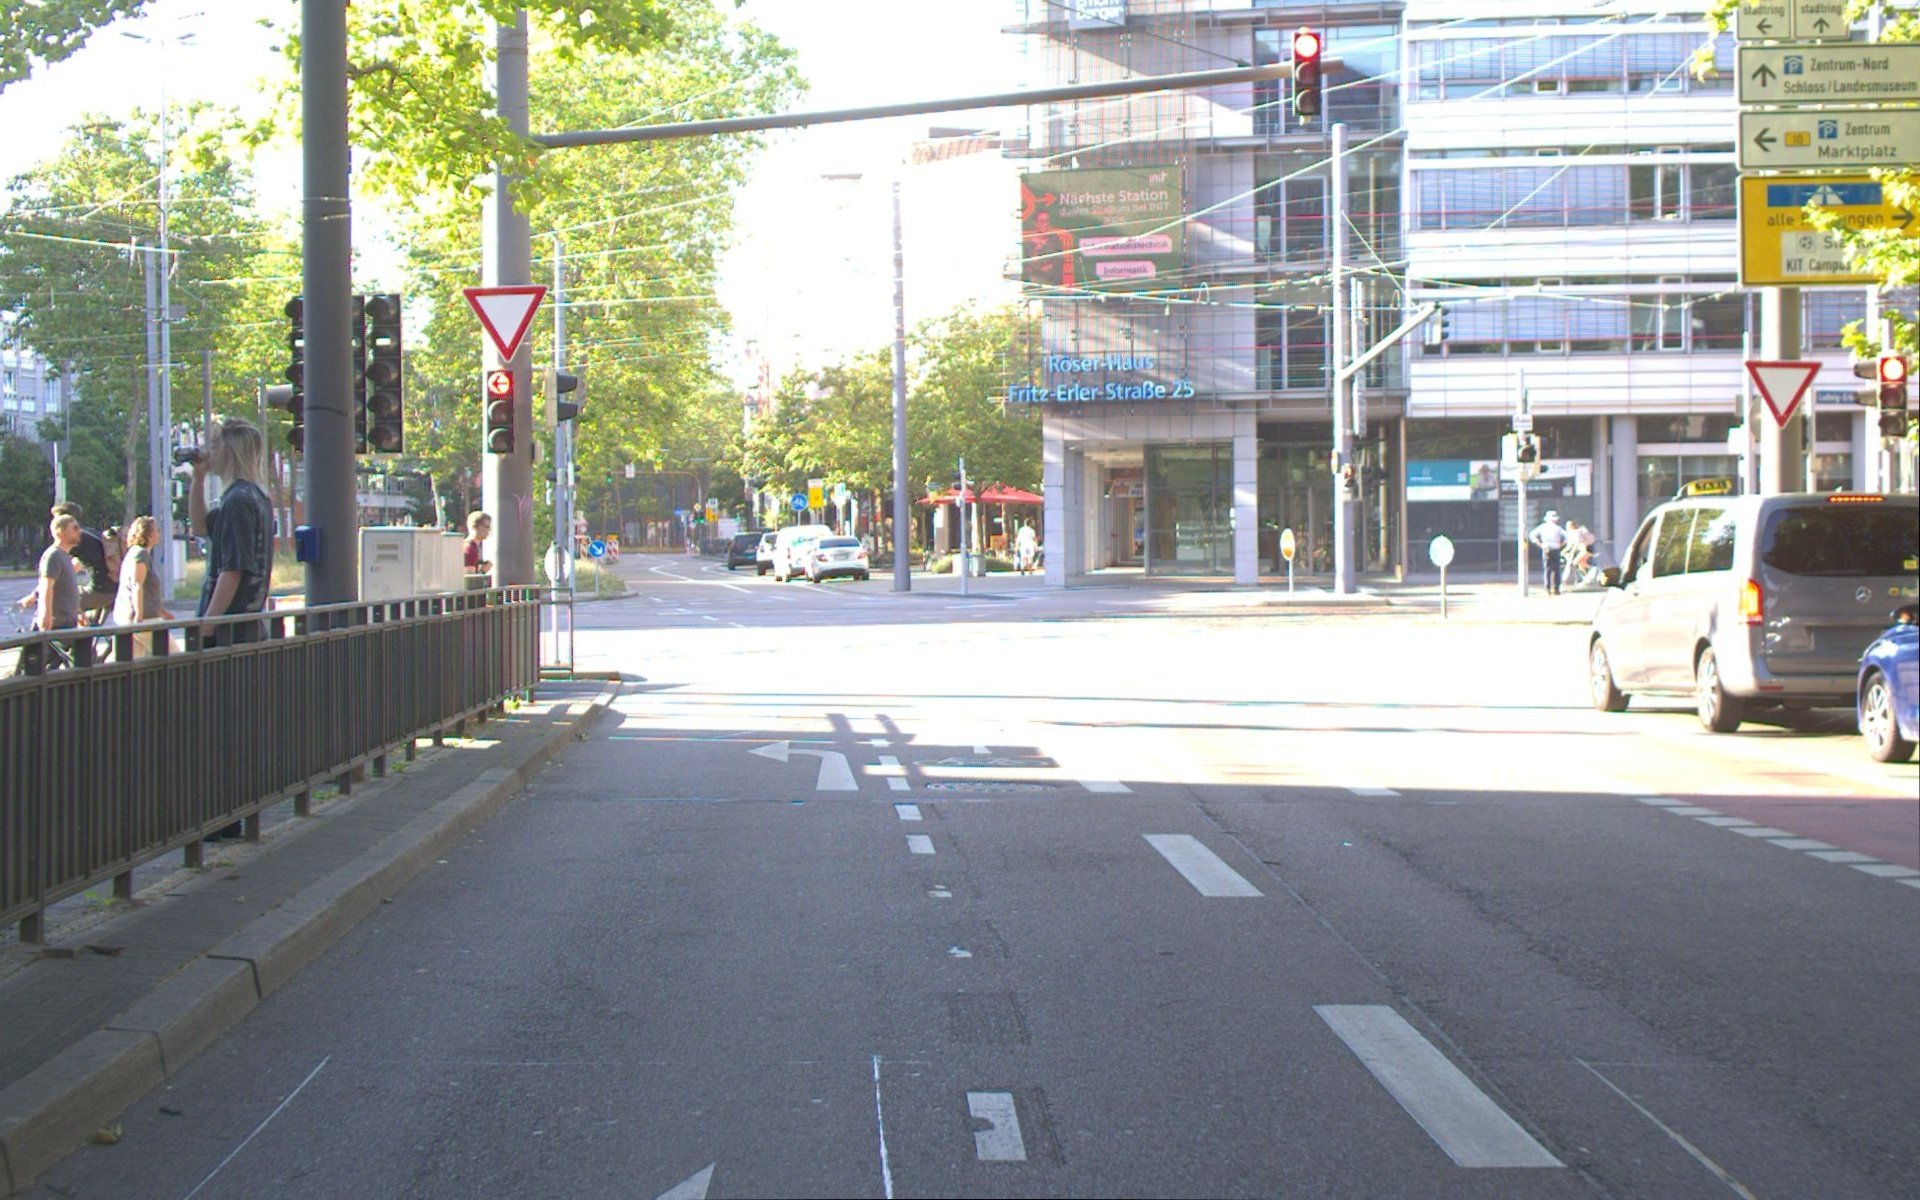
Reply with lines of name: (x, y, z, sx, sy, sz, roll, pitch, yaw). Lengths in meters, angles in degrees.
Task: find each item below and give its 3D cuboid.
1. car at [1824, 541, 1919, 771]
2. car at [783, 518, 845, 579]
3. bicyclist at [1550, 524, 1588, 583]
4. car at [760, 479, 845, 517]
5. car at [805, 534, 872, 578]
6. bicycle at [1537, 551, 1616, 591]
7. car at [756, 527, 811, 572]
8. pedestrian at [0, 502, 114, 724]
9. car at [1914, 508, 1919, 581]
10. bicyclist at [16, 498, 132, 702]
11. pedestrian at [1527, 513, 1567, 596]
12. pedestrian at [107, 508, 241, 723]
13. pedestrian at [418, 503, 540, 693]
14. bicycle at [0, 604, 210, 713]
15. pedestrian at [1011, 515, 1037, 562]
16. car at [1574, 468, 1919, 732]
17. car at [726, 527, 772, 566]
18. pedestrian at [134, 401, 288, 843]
car: (7.021, 0.354, 21.694, 1.764, 1.459, 4.218, -1, 1, -4)
car: (-4.939, -1.748, 115.839, 1.993, 1.985, 4.001, -1, 1, -4)
bicyclist: (14.152, -1.079, 79.865, 0.819, 1.362, 0.400, -1, 1, 2)
car: (-7.590, -4.904, 165.949, 3.763, 1.744, 1.781, 1, 0, 11)
car: (-3.880, -1.398, 109.075, 1.993, 1.327, 4.001, -1, 1, -4)
bicycle: (14.323, -0.669, 79.867, 1.741, 0.896, 0.409, -1, 1, 2)
car: (-6.753, -1.939, 131.208, 1.993, 1.656, 4.001, -1, 1, -4)
pedestrian: (-7.905, 0.108, 29.614, 1.145, 1.887, 0.833, 0, 0, -10)
car: (23.041, -1.238, 74.491, 4.241, 1.596, 1.795, -1, 1, 2)
bicyclist: (-7.902, -0.007, 30.680, 0.849, 1.779, 0.753, -1, 1, -4)
pedestrian: (11.871, -0.924, 69.511, 0.720, 1.676, 0.557, 1, 1, 4)
pedestrian: (-6.678, 0.129, 29.242, 1.071, 1.800, 0.758, 0, 0, -10)
pedestrian: (-4.384, -0.019, 31.370, 1.073, 1.709, 0.628, 0, 0, -7)
bicycle: (-7.845, 0.521, 30.691, 2.177, 0.930, 0.668, -1, 1, -5)
pedestrian: (1.981, -1.906, 106.499, 0.739, 1.460, 0.537, -1, 1, -5)
car: (6.666, -0.044, 28.293, 1.993, 1.959, 5.138, 1, 1, -3)
car: (-9.370, -2.377, 152.696, 1.993, 1.656, 4.001, -1, 1, -4)
pedestrian: (-3.298, 0.091, 15.179, 0.509, 1.893, 0.760, 1, 0, -2)
